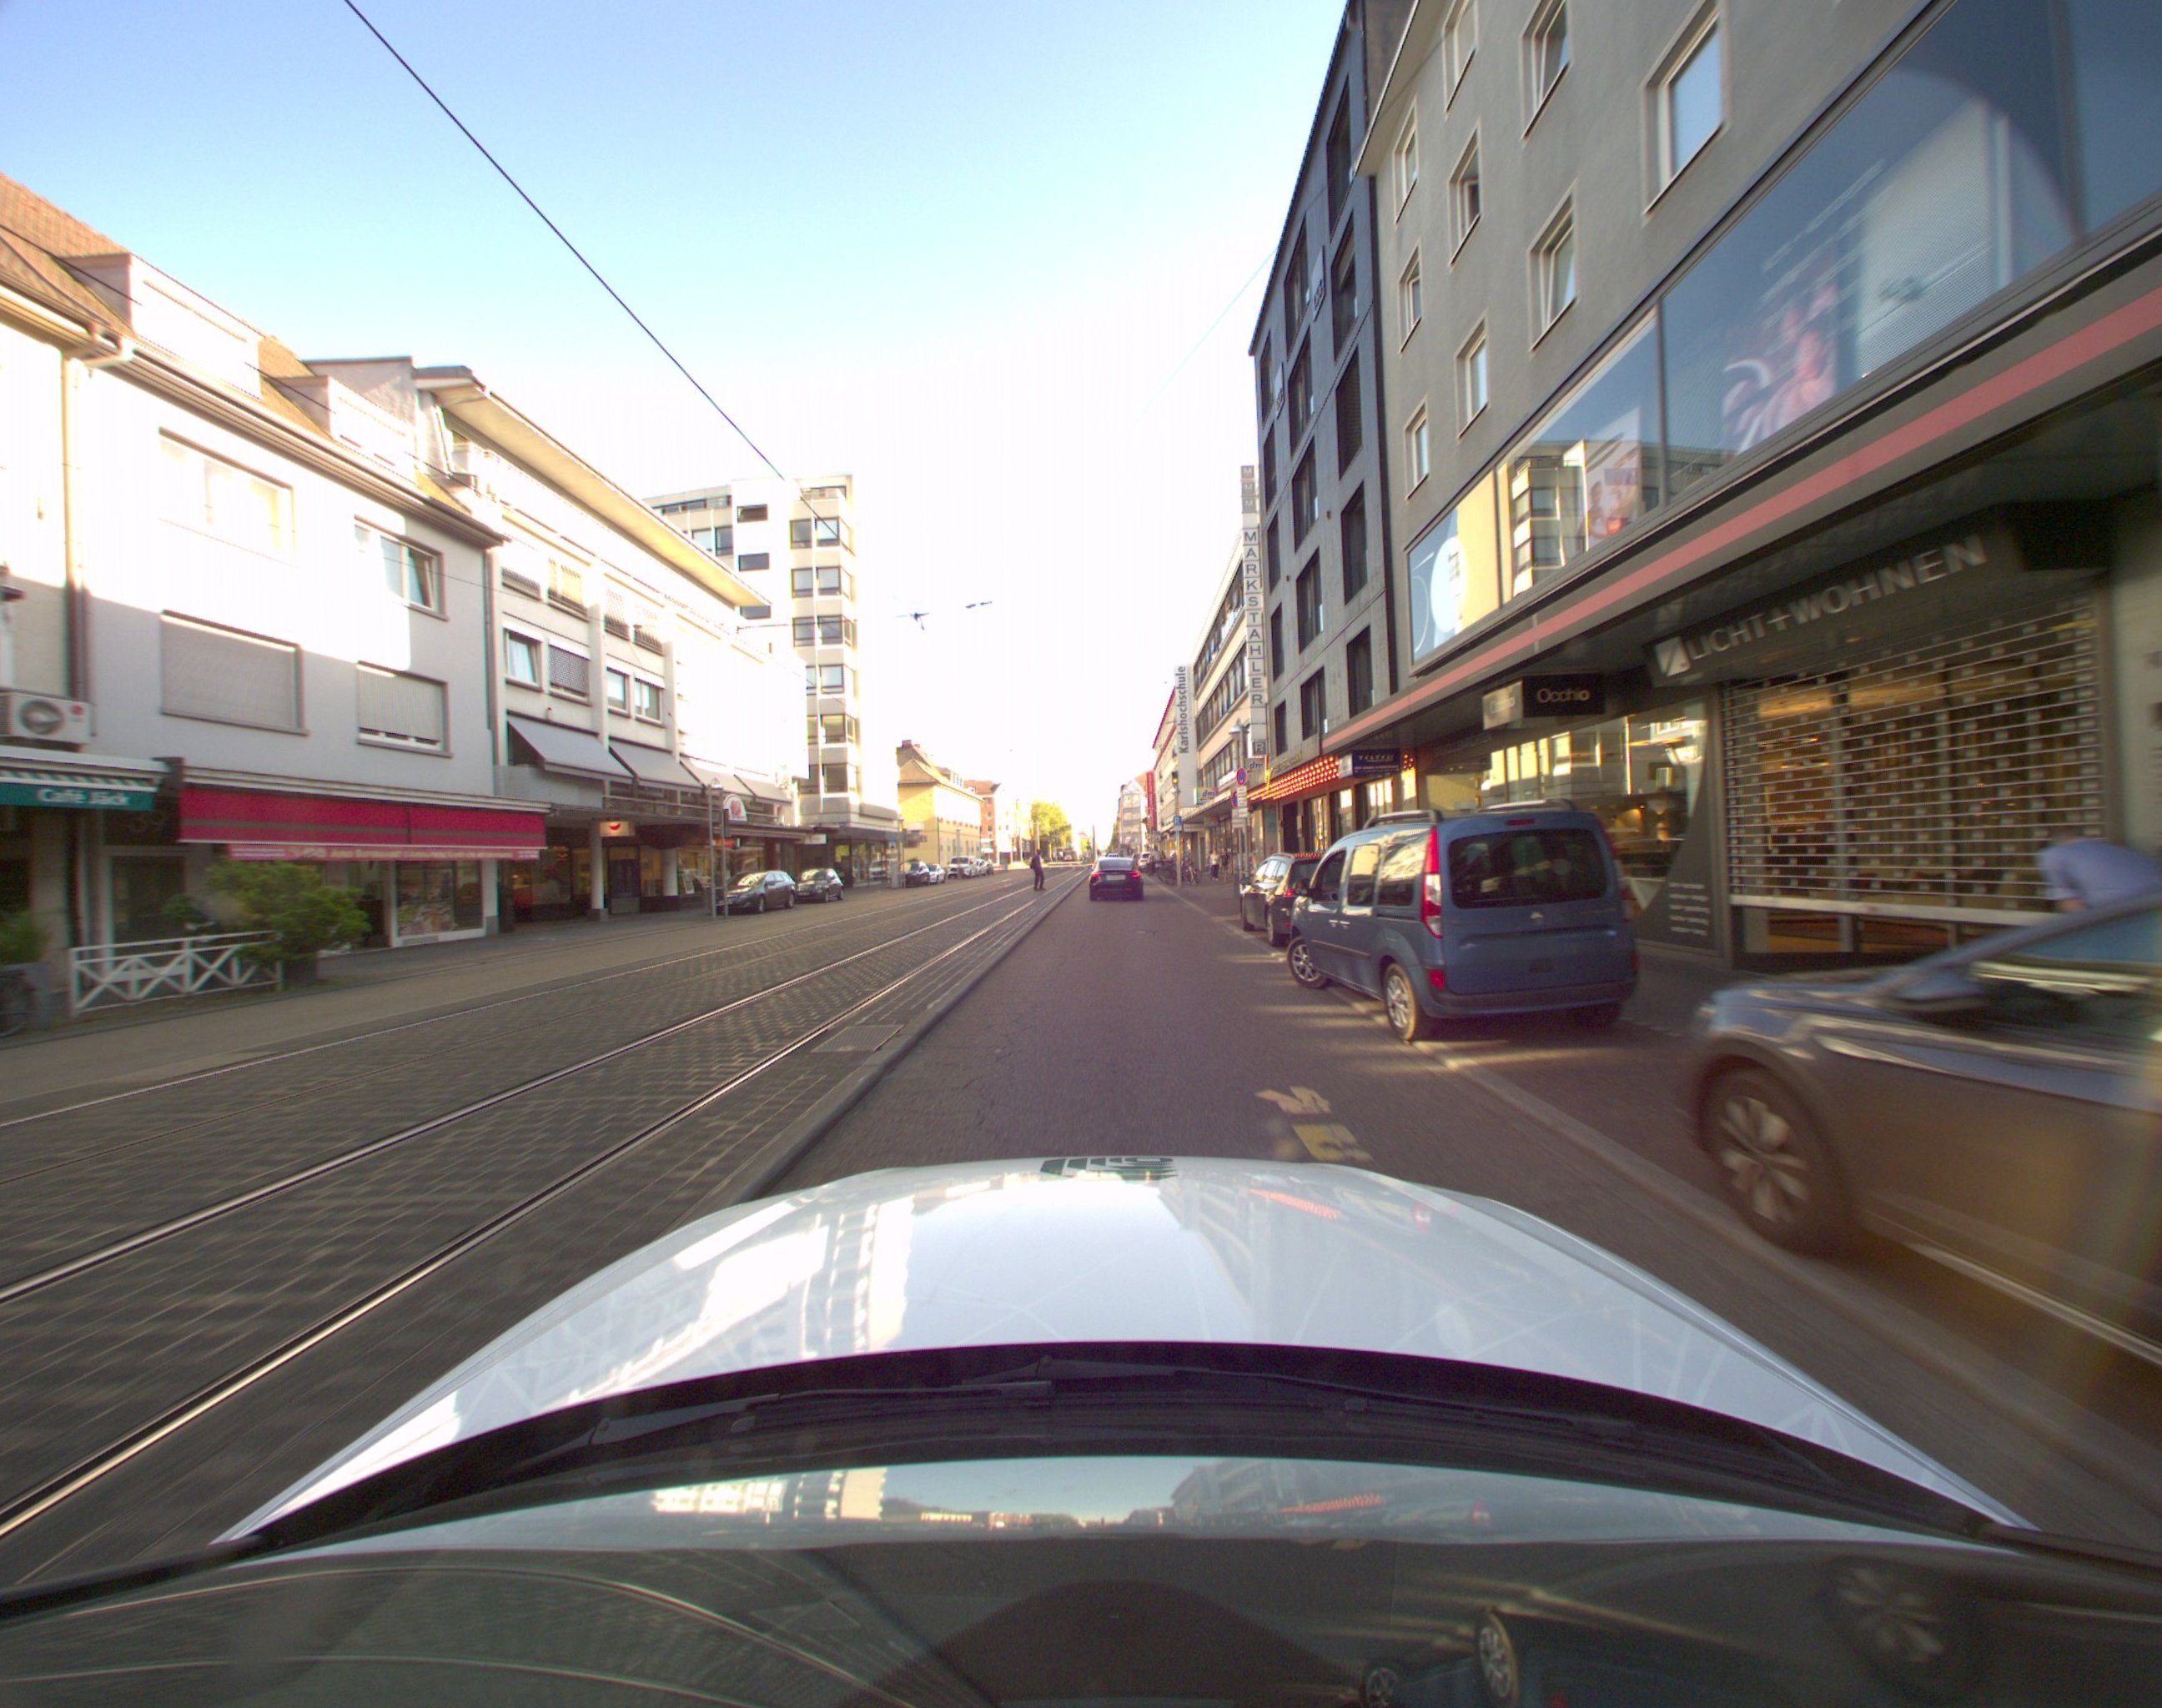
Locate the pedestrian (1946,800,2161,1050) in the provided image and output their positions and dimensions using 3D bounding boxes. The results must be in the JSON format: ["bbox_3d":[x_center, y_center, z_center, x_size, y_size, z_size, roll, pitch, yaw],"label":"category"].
[{"bbox_3d":[6.199,0.417,5.149,0.573,1.439,0.731,-4,-1,1],"label":"pedestrian"}]

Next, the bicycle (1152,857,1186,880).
[{"bbox_3d":[4.888,0.792,45.310,1.781,1.159,0.669,-3,0,1],"label":"bicycle"}]

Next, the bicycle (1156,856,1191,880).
[{"bbox_3d":[5.023,0.748,44.160,1.781,1.217,0.669,-3,0,1],"label":"bicycle"}]

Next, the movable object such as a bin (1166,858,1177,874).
[{"bbox_3d":[6.305,0.830,57.015,0.687,1.089,0.667,-3,-1,5],"label":"movable object such as a bin"}]

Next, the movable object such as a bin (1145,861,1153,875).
[{"bbox_3d":[4.801,0.990,57.192,0.485,0.958,0.458,-3,-1,5],"label":"movable object such as a bin"}]

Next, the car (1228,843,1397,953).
[{"bbox_3d":[3.775,0.663,14.110,1.715,1.484,4.418,-4,-1,2],"label":"car"}]

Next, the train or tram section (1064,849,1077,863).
[{"bbox_3d":[-2.809,0.536,217.473,2.663,3.715,14.201,0,0,3],"label":"train or tram section"}]

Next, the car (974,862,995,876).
[{"bbox_3d":[-9.892,1.564,83.528,1.608,1.400,3.721,0,0,1],"label":"car"}]

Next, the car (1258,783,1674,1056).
[{"bbox_3d":[3.261,0.486,8.109,1.811,1.860,4.547,-3,-1,-2],"label":"car"}]

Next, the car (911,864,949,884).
[{"bbox_3d":[-10.986,1.427,59.515,1.882,1.421,4.656,0,0,1],"label":"car"}]

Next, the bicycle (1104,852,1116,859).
[{"bbox_3d":[4.460,0.295,125.825,1.726,1.088,0.677,0,-1,-6],"label":"bicycle"}]

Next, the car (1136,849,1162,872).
[{"bbox_3d":[5.750,0.566,69.171,1.843,1.724,5.194,-4,-1,1],"label":"car"}]

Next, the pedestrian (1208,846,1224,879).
[{"bbox_3d":[6.758,0.418,40.707,0.579,1.585,0.598,-4,-1,0],"label":"pedestrian"}]

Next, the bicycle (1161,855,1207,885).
[{"bbox_3d":[4.899,0.761,38.765,2.035,1.274,0.523,-5,0,-8],"label":"bicycle"}]

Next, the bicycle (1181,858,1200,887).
[{"bbox_3d":[5.049,0.828,37.473,0.579,1.257,1.602,-4,-1,0],"label":"bicycle"}]

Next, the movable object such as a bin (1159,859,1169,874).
[{"bbox_3d":[5.885,0.904,57.778,0.655,1.014,0.637,-3,-1,4],"label":"movable object such as a bin"}]

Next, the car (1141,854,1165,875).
[{"bbox_3d":[5.660,0.783,64.361,1.608,1.528,4.071,-3,-1,1],"label":"car"}]

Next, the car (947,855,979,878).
[{"bbox_3d":[-10.484,1.101,72.641,1.986,1.975,5.098,0,0,1],"label":"car"}]

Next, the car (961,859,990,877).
[{"bbox_3d":[-10.201,1.368,78.933,1.799,1.685,4.654,0,0,4],"label":"car"}]

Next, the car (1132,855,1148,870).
[{"bbox_3d":[6.980,1.023,96.964,1.738,1.632,3.651,-3,0,2],"label":"car"}]

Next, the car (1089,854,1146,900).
[{"bbox_3d":[1.213,0.768,28.385,1.842,1.484,3.787,-1,-1,1],"label":"car"}]

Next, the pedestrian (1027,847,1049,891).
[{"bbox_3d":[-1.891,0.639,35.626,0.801,1.837,0.746,-4,-1,0],"label":"pedestrian"}]

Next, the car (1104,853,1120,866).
[{"bbox_3d":[3.993,0.704,104.812,1.778,1.519,4.216,0,0,-1],"label":"car"}]

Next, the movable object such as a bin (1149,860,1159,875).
[{"bbox_3d":[5.194,0.956,57.867,0.683,1.014,0.509,-3,-1,4],"label":"movable object such as a bin"}]

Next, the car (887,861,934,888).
[{"bbox_3d":[-11.176,1.319,53.702,1.971,1.678,4.658,0,0,2],"label":"car"}]

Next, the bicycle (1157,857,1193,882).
[{"bbox_3d":[4.987,0.827,43.240,1.781,1.217,0.587,-3,0,1],"label":"bicycle"}]

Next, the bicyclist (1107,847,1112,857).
[{"bbox_3d":[4.392,-0.256,125.811,0.835,1.500,0.559,0,-1,-6],"label":"bicyclist"}]

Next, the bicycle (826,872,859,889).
[{"bbox_3d":[-14.722,1.632,50.217,1.928,0.999,0.381,0,-1,2],"label":"bicycle"}]

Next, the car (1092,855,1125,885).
[{"bbox_3d":[1.448,0.810,41.912,1.647,1.418,4.003,-1,0,3],"label":"car"}]

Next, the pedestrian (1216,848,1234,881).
[{"bbox_3d":[6.782,0.498,38.394,0.581,1.493,0.524,-4,-1,-7],"label":"pedestrian"}]

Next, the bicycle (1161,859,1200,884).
[{"bbox_3d":[4.810,0.842,39.559,1.770,1.130,0.478,-3,0,-4],"label":"bicycle"}]

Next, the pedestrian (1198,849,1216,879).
[{"bbox_3d":[6.510,0.537,42.086,0.585,1.486,0.591,-4,-1,-29],"label":"pedestrian"}]

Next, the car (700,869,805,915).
[{"bbox_3d":[-12.066,1.335,30.317,1.730,1.523,4.855,0,0,3],"label":"car"}]

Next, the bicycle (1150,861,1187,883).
[{"bbox_3d":[4.488,0.937,41.847,1.767,1.032,0.597,-3,0,1],"label":"bicycle"}]

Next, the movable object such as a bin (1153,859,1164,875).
[{"bbox_3d":[5.456,0.892,57.087,0.687,1.089,0.686,-3,-1,5],"label":"movable object such as a bin"}]

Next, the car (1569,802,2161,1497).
[{"bbox_3d":[3.317,0.636,1.898,1.757,1.577,4.288,-4,-1,1],"label":"car"}]

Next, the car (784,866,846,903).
[{"bbox_3d":[-11.687,1.309,36.007,1.596,1.523,3.588,0,0,-1],"label":"car"}]

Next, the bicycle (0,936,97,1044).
[{"bbox_3d":[-11.998,1.521,8.834,0.516,1.090,1.717,0,-1,2],"label":"bicycle"}]
